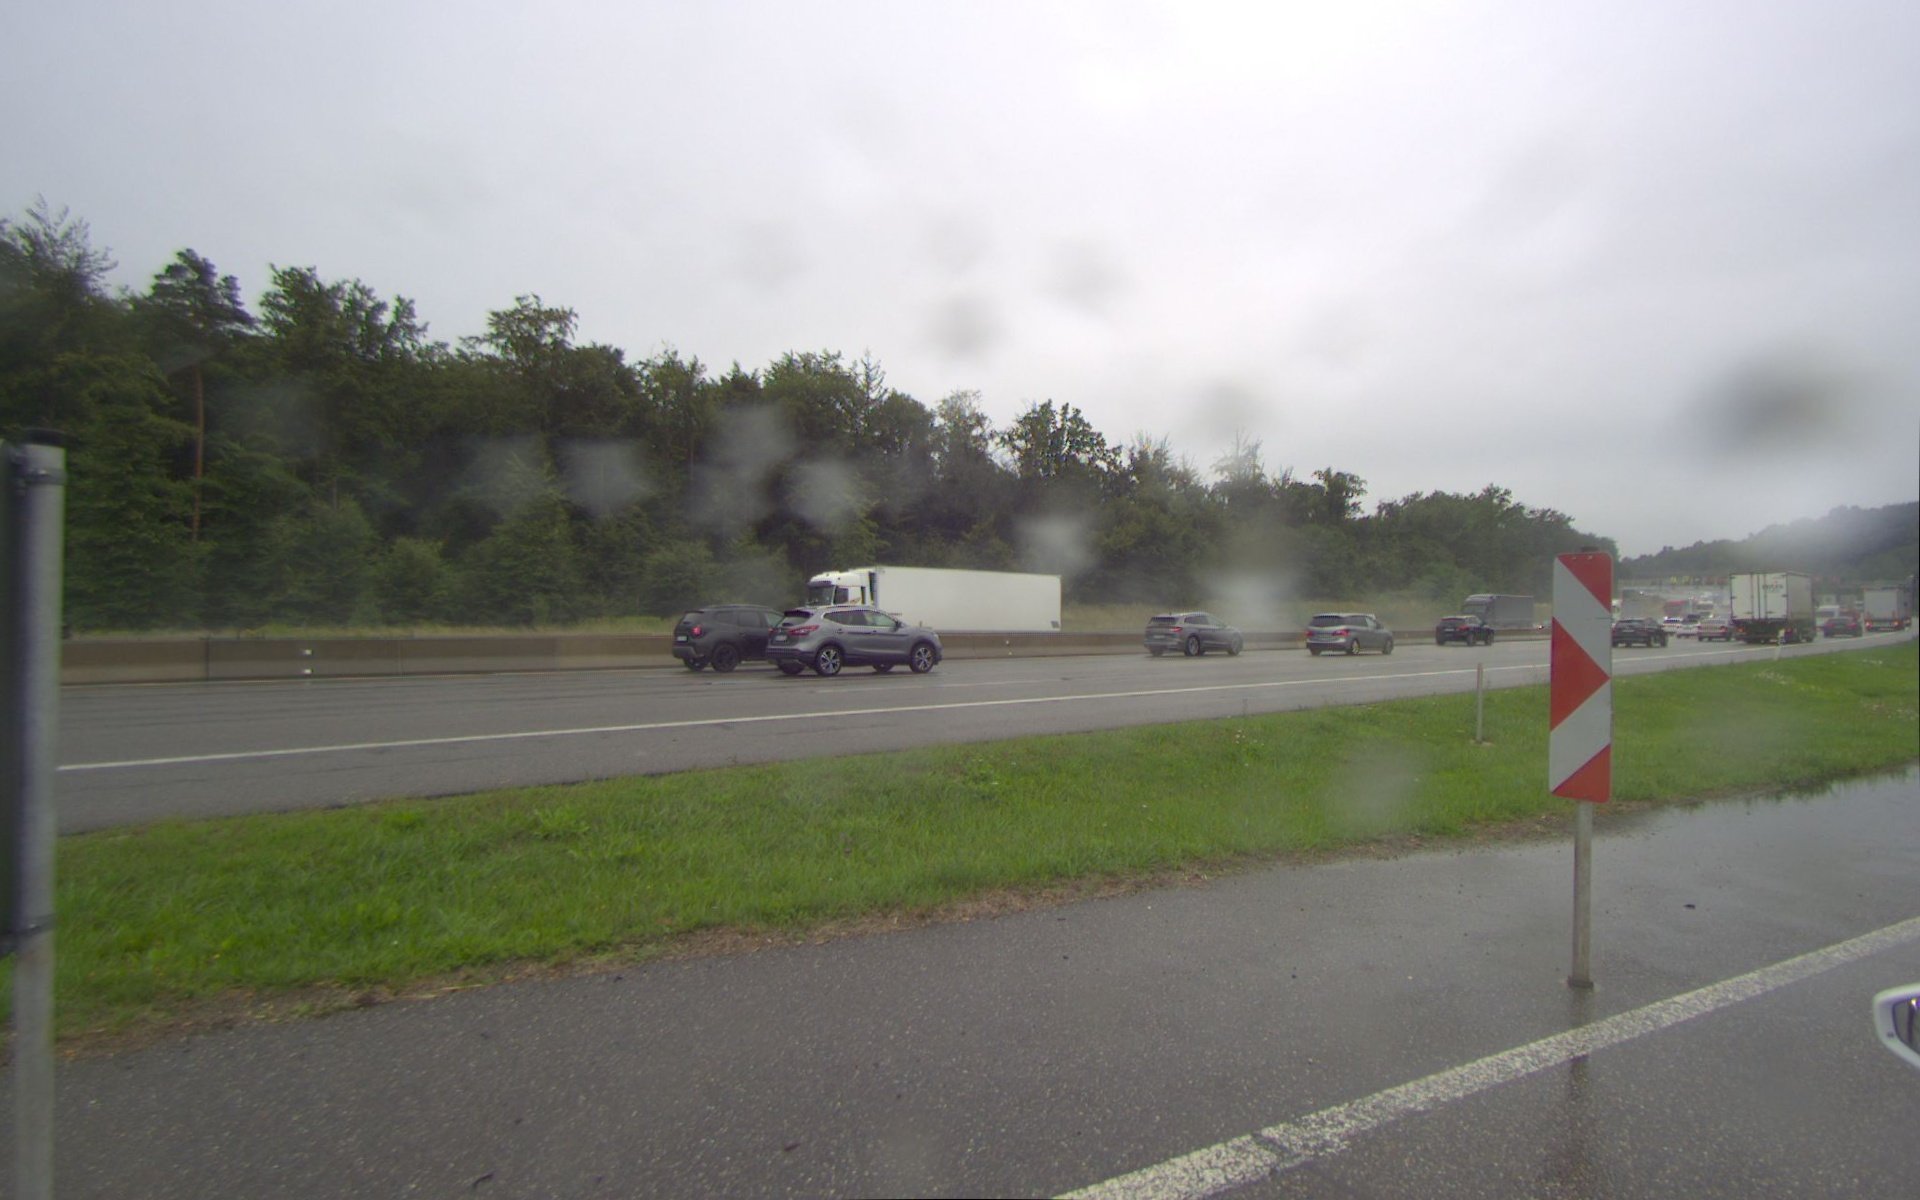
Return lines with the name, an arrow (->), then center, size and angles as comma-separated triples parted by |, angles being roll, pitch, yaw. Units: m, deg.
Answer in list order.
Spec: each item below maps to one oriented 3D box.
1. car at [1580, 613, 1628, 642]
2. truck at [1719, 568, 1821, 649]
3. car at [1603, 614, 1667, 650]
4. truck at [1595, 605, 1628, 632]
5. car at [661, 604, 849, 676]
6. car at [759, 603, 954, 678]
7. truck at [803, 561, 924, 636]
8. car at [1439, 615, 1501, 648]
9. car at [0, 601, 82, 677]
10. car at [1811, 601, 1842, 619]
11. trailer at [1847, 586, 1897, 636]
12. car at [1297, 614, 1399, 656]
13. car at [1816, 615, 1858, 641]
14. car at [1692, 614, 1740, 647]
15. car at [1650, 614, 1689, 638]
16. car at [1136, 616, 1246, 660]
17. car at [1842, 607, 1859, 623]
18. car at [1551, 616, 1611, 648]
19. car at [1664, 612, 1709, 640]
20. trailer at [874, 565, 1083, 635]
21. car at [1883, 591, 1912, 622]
car -> 47.069, 2.008, 73.415 | 3.970, 2.040, 1.976 | 1, -2, -42
truck -> 47.651, 0.649, 58.903 | 11.756, 4.348, 2.824 | 2, -3, -43
car -> 33.913, 1.608, 50.455 | 3.817, 1.759, 1.760 | 1, -2, -41
truck -> 94.364, 2.708, 145.403 | 4.725, 3.582, 2.689 | -1, 5, -42
car -> -5.219, 1.004, 25.894 | 4.427, 1.685, 1.908 | 1, -2, -42
car -> -2.335, 0.913, 23.315 | 4.298, 1.595, 1.704 | 1, -2, -40
truck -> -4.779, -0.011, 50.247 | 5.559, 3.497, 2.623 | 1, -1, -42
car -> 28.697, 1.757, 56.449 | 4.068, 1.759, 1.760 | 1, -2, -42
car -> -23.466, 0.909, 23.851 | 3.817, 1.759, 1.726 | 1, 0, -39
car -> 93.217, 1.063, 108.038 | 3.967, 1.840, 1.977 | 1, 0, -40
trailer -> 91.527, 1.192, 100.754 | 3.510, 4.673, 12.051 | -1, -2, 43
car -> 15.010, 1.328, 38.804 | 4.297, 1.547, 1.774 | 1, -2, -39
car -> 65.687, 2.068, 75.223 | 3.970, 1.840, 1.975 | 1, 0, -42
car -> 48.858, 1.945, 64.871 | 4.304, 1.997, 1.771 | 1, -1, -43
car -> 61.966, 2.291, 87.758 | 3.970, 2.040, 1.975 | 1, -2, -42
car -> 8.767, 1.413, 37.933 | 4.421, 1.594, 1.705 | 1, -2, -39
car -> 128.615, 2.219, 145.073 | 1.655, 2.040, 3.980 | 8, 4, 41
car -> 35.568, 1.833, 57.495 | 4.068, 1.759, 1.760 | 1, -3, -41
car -> 55.758, 1.995, 77.066 | 3.970, 2.040, 1.976 | 1, -2, -42
trailer -> 1.392, 0.126, 55.802 | 13.384, 3.543, 2.625 | 1, -1, -42
car -> 113.859, 0.813, 122.034 | 2.347, 3.532, 4.787 | 4, 2, 43
